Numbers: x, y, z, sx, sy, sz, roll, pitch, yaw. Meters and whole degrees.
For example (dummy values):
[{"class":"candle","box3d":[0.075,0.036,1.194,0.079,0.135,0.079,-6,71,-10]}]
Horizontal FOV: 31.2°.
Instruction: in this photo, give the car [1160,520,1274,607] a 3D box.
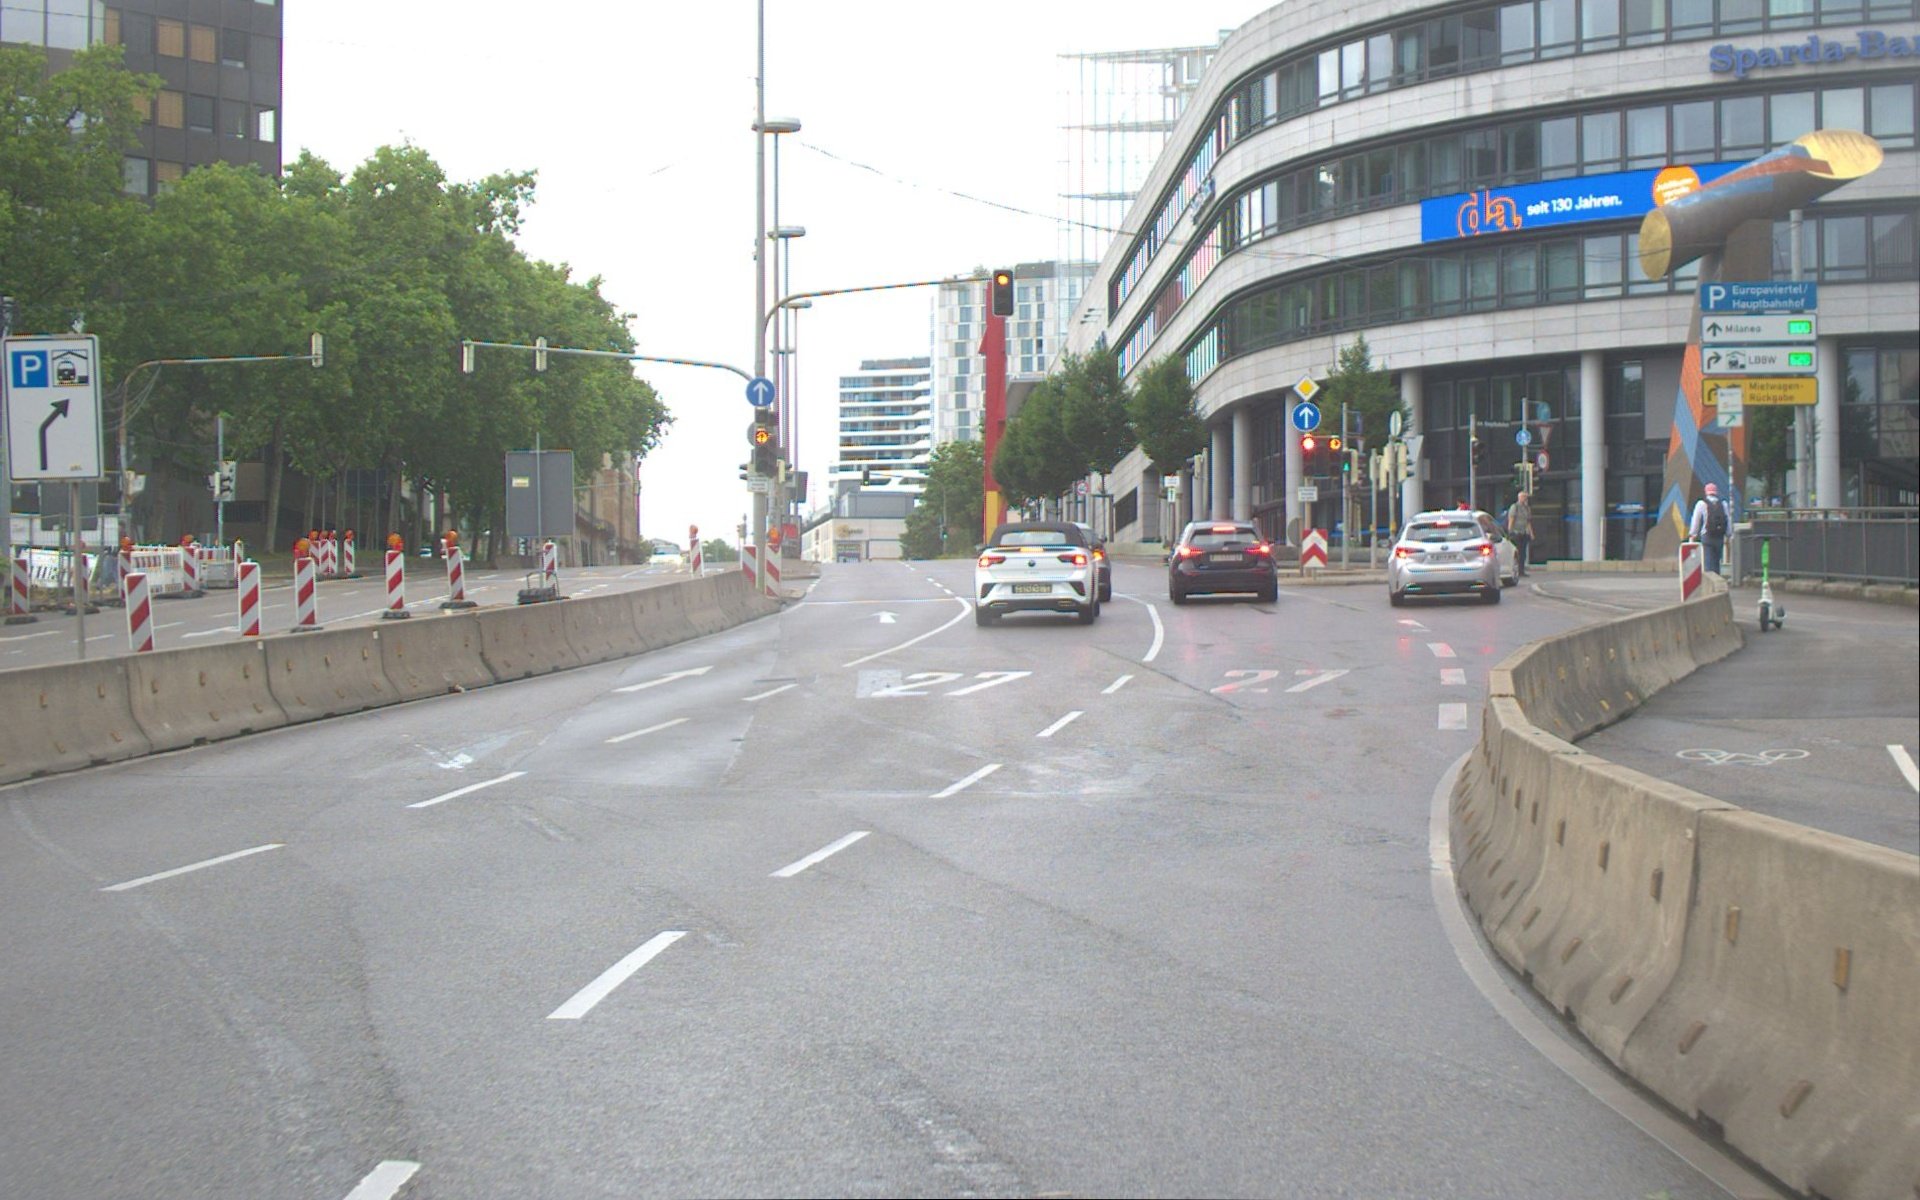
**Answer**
[{"class":"car","box3d":[4.410,-0.621,59.457,1.755,1.402,4.227,1,0,2]}]

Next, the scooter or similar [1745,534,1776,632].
[{"class":"scooter or similar","box3d":[9.540,-0.201,40.987,0.349,1.158,0.572,0,0,14]}]

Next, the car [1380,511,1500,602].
[{"class":"car","box3d":[7.901,-0.705,56.892,1.701,1.446,4.615,0,0,5]}]

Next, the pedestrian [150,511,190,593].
[{"class":"pedestrian","box3d":[-18.523,-1.124,80.612,0.761,1.916,0.742,0,-1,1]}]

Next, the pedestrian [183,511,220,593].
[{"class":"pedestrian","box3d":[-17.764,-1.119,80.536,0.672,1.895,0.775,0,-1,1]}]

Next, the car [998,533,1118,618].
[{"class":"car","box3d":[1.711,-0.456,61.289,1.739,1.438,4.001,1,1,-4]}]

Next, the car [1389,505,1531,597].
[{"class":"car","box3d":[9.310,-0.933,63.761,1.773,1.628,4.577,0,2,19]}]

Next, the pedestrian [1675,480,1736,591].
[{"class":"pedestrian","box3d":[11.622,-1.004,53.624,0.729,1.705,0.843,0,-1,-2]}]

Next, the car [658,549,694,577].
[{"class":"car","box3d":[-15.756,-2.054,190.846,1.761,1.455,4.360,-2,2,-2]}]

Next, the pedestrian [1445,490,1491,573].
[{"class":"pedestrian","box3d":[11.799,-1.579,79.908,0.841,1.898,0.860,-1,-1,25]}]

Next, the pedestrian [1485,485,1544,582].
[{"class":"pedestrian","box3d":[12.093,-1.446,74.932,0.852,2.091,0.904,1,1,-24]}]

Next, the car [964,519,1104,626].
[{"class":"car","box3d":[1.178,-0.452,52.719,1.964,1.543,4.218,0,1,3]}]
